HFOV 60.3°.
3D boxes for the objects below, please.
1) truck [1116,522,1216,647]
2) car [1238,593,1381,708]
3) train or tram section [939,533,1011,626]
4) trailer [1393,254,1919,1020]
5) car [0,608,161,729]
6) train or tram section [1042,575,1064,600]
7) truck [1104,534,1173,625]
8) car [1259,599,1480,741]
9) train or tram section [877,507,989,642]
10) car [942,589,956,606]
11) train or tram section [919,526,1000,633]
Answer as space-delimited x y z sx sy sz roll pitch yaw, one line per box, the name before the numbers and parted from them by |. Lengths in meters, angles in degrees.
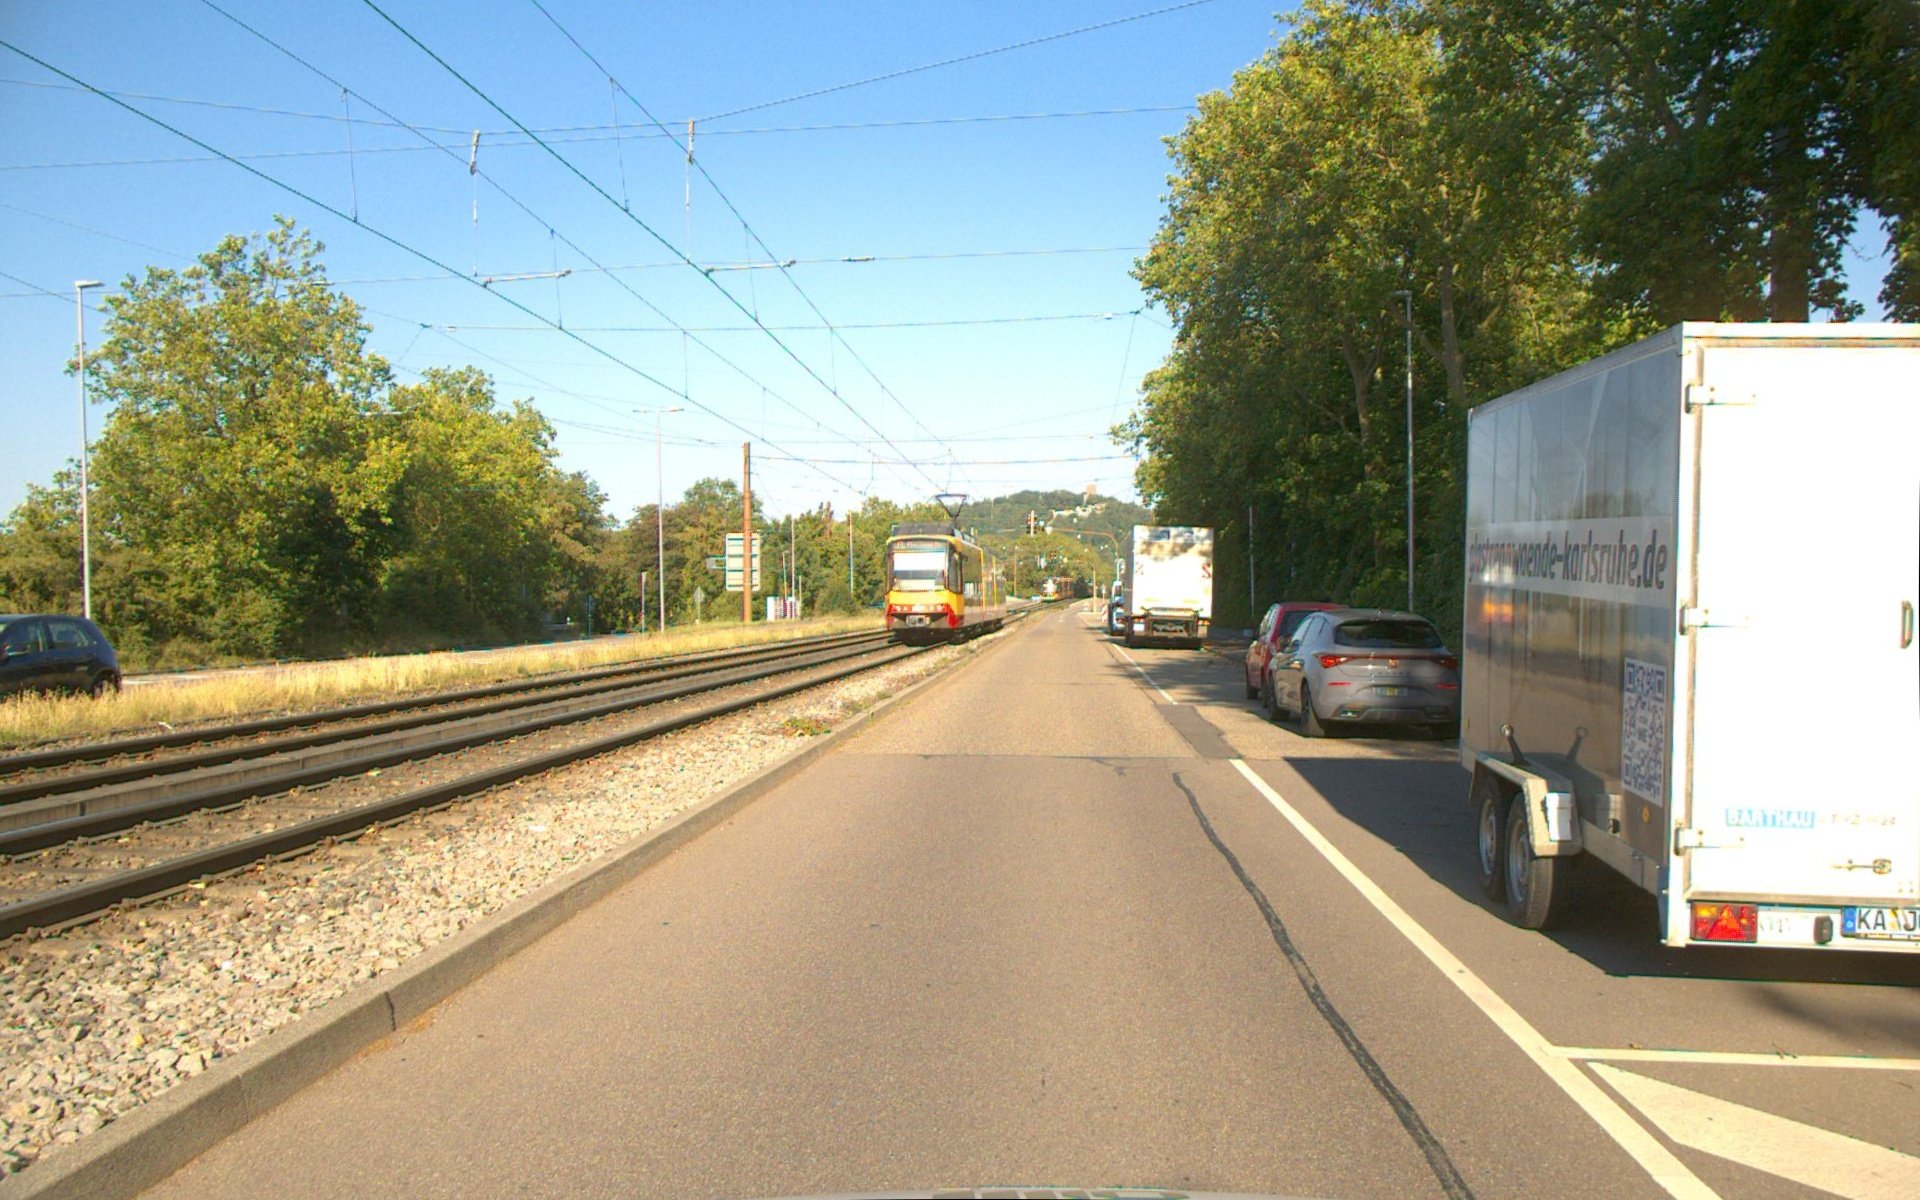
truck | 6.924 -0.508 56.783 2.684 3.849 10.094 1 0 4
car | 5.284 0.720 25.402 1.606 1.563 3.642 2 0 4
train or tram section | 0.878 -0.940 81.537 2.662 4.160 12.819 -1 0 4
trailer | 3.876 0.130 8.866 2.203 2.742 5.951 0 0 7
car | -12.455 0.853 21.425 1.736 1.450 4.492 -1 0 5
train or tram section | 14.257 -1.882 253.866 2.588 3.629 10.840 -1 0 7
truck | 8.086 -0.891 75.887 2.660 3.849 9.766 1 0 4
car | 4.802 0.752 19.950 1.771 1.482 4.167 1 0 3
train or tram section | -0.739 -0.804 58.466 2.664 4.162 13.622 -1 0 4
car | -1.364 -0.276 206.262 1.688 2.049 4.000 1 -1 1
train or tram section | 0.089 -0.826 70.187 2.638 4.160 9.915 -1 0 4
